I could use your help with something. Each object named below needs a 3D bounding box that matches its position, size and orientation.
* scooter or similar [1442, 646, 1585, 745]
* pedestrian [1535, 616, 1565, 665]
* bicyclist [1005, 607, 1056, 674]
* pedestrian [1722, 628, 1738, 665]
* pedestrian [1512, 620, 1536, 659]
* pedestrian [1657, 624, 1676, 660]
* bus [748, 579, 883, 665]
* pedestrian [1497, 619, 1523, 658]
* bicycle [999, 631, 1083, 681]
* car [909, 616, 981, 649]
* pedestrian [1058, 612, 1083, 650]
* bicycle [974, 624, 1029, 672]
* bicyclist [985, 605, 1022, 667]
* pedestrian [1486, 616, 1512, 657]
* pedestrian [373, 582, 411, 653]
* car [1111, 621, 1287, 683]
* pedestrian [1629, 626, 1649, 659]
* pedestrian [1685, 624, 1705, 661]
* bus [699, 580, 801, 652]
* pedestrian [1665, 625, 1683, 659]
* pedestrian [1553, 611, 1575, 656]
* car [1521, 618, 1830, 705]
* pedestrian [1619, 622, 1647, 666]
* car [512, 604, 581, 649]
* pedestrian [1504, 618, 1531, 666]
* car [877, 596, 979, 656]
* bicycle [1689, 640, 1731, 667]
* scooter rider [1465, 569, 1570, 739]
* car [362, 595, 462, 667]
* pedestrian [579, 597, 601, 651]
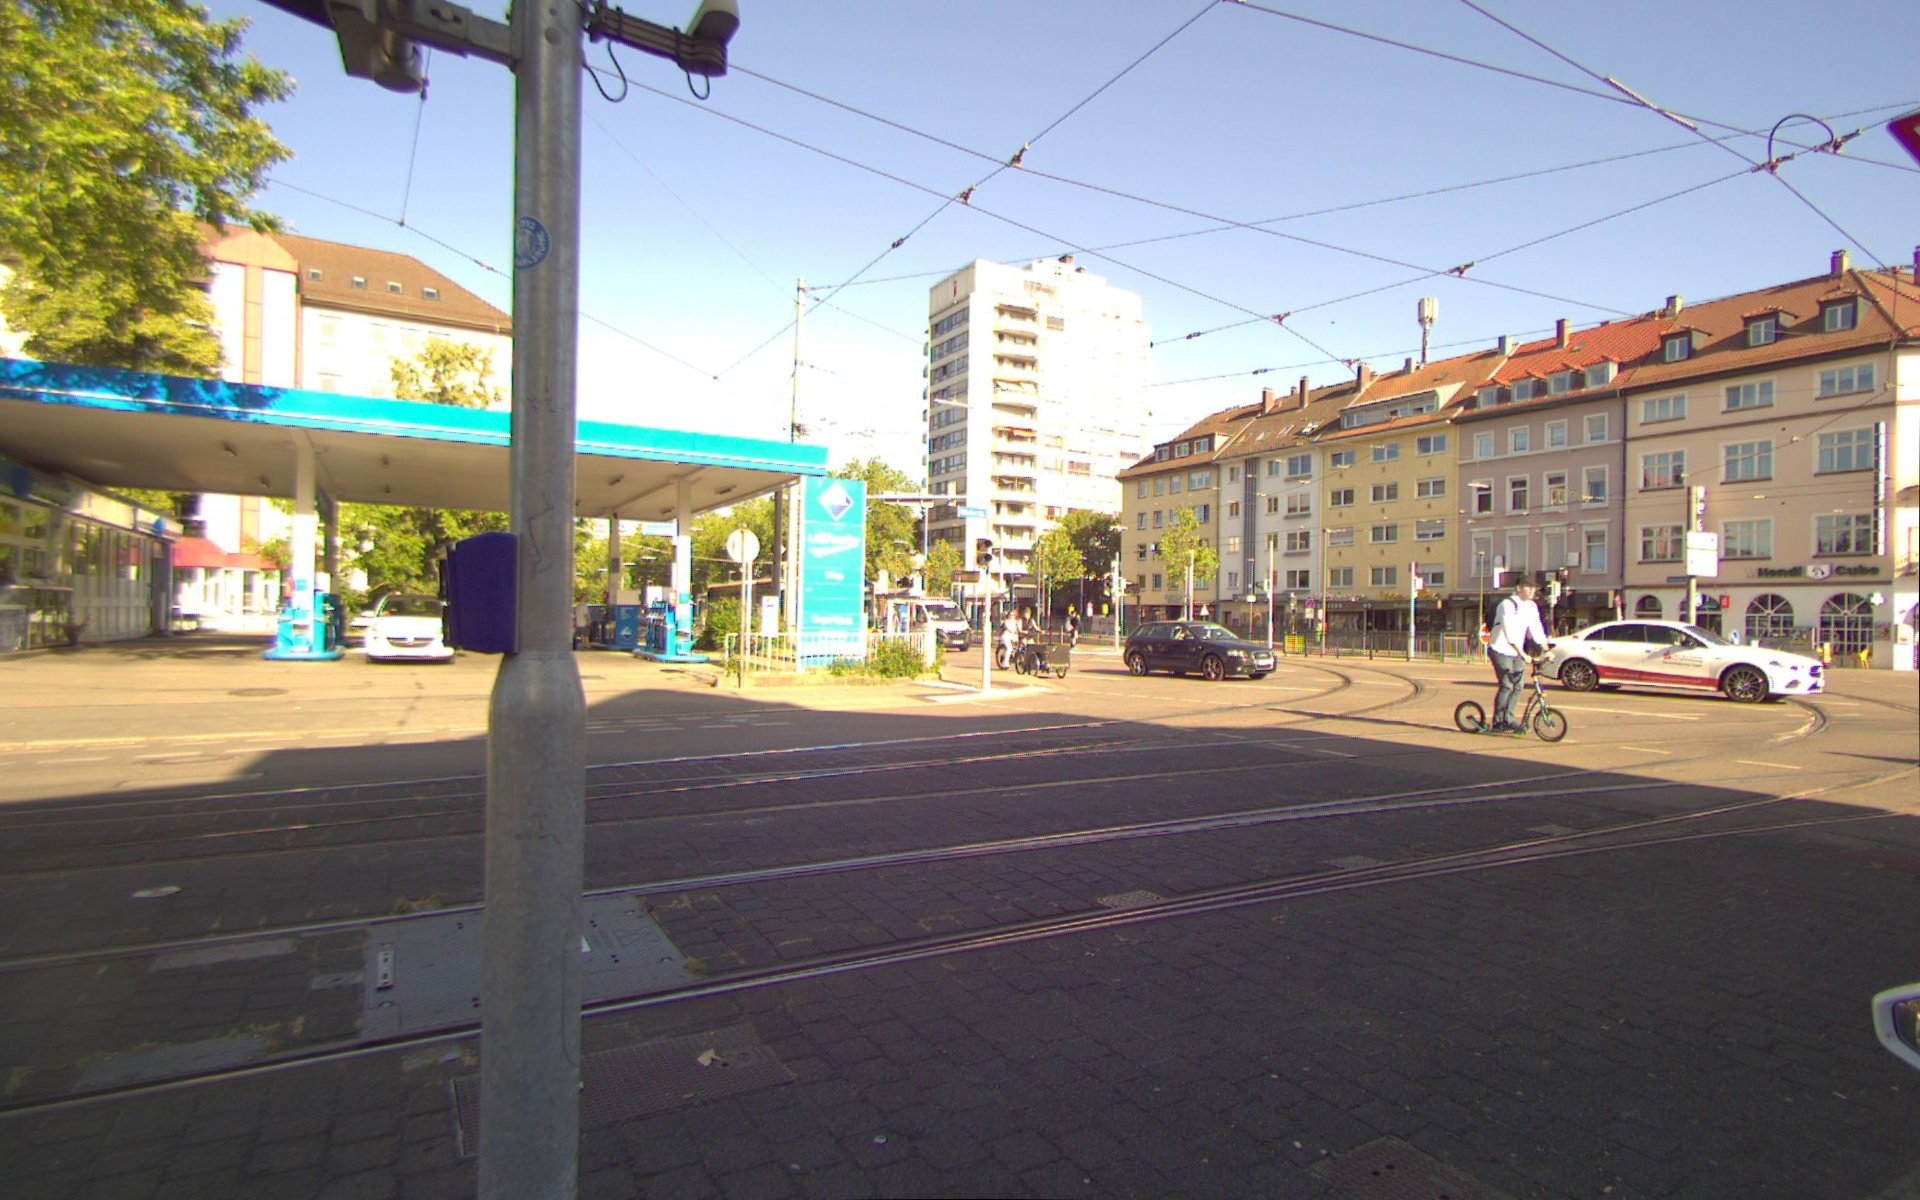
[{"bbox_3d":[6.612,1.107,12.060,0.558,1.057,1.424,1,-1,-30],"label":"scooter or similar"},{"bbox_3d":[23.139,1.581,39.416,0.714,1.853,0.763,1,-1,-30],"label":"pedestrian"},{"bbox_3d":[1.791,1.023,25.694,0.921,1.659,1.022,1,-1,-24],"label":"bicyclist"},{"bbox_3d":[26.998,1.631,35.222,0.447,1.270,0.361,1,-1,-41],"label":"pedestrian"},{"bbox_3d":[23.488,1.648,41.821,0.554,1.602,0.694,1,-1,-35],"label":"pedestrian"},{"bbox_3d":[33.900,2.024,48.172,0.731,1.704,0.626,0,-1,35],"label":"pedestrian"},{"bbox_3d":[-6.817,0.843,45.869,2.748,3.504,9.364,0,1,-31],"label":"bus"},{"bbox_3d":[24.179,1.679,44.146,0.621,1.704,0.763,1,-1,-30],"label":"pedestrian"},{"bbox_3d":[2.001,1.377,25.250,1.045,1.116,2.505,1,-1,-24],"label":"bicycle"},{"bbox_3d":[-0.777,1.529,47.865,1.697,1.439,4.149,1,-1,-28],"label":"car"},{"bbox_3d":[4.804,1.357,43.629,0.788,1.632,0.766,1,-1,-36],"label":"pedestrian"},{"bbox_3d":[1.174,1.356,28.661,0.616,1.316,1.931,1,-2,-31],"label":"bicycle"},{"bbox_3d":[1.230,1.023,28.539,0.725,1.737,0.794,1,-2,-31],"label":"bicyclist"},{"bbox_3d":[21.886,1.466,40.763,0.565,1.657,0.737,1,-1,-30],"label":"pedestrian"},{"bbox_3d":[-14.006,0.442,24.785,0.751,1.715,0.583,1,-1,-28],"label":"pedestrian"},{"bbox_3d":[5.833,1.236,24.971,1.630,1.399,4.241,1,-2,-36],"label":"car"},{"bbox_3d":[35.850,2.228,53.034,0.623,1.704,0.734,1,-1,-41],"label":"pedestrian"},{"bbox_3d":[34.395,1.976,47.004,0.731,1.704,0.626,0,-1,35],"label":"pedestrian"},{"bbox_3d":[-11.348,0.723,53.586,2.755,3.504,8.571,0,1,-30],"label":"bus"},{"bbox_3d":[36.322,2.110,51.126,0.731,1.704,0.626,0,-1,35],"label":"pedestrian"},{"bbox_3d":[24.327,1.335,40.451,0.553,1.810,0.557,1,-1,-30],"label":"pedestrian"},{"bbox_3d":[13.768,1.101,19.598,1.726,1.492,4.635,1,-1,-38],"label":"car"},{"bbox_3d":[26.567,1.729,39.650,0.621,1.704,0.737,1,-1,-30],"label":"pedestrian"},{"bbox_3d":[-13.581,0.852,32.875,1.697,1.360,3.970,1,-1,-28],"label":"car"},{"bbox_3d":[22.201,1.654,40.007,0.769,1.874,0.625,1,-1,-30],"label":"pedestrian"},{"bbox_3d":[-1.475,1.085,43.678,2.059,2.465,5.079,0,0,-34],"label":"car"},{"bbox_3d":[37.694,2.666,50.495,1.693,1.293,0.385,0,-1,44],"label":"bicycle"},{"bbox_3d":[6.651,0.629,11.995,0.788,1.937,0.791,1,0,-30],"label":"scooter rider"},{"bbox_3d":[-12.361,0.666,22.554,1.793,1.461,3.966,1,-1,-31],"label":"car"},{"bbox_3d":[-11.849,0.771,32.138,0.579,1.715,0.756,1,-1,-25],"label":"pedestrian"}]
